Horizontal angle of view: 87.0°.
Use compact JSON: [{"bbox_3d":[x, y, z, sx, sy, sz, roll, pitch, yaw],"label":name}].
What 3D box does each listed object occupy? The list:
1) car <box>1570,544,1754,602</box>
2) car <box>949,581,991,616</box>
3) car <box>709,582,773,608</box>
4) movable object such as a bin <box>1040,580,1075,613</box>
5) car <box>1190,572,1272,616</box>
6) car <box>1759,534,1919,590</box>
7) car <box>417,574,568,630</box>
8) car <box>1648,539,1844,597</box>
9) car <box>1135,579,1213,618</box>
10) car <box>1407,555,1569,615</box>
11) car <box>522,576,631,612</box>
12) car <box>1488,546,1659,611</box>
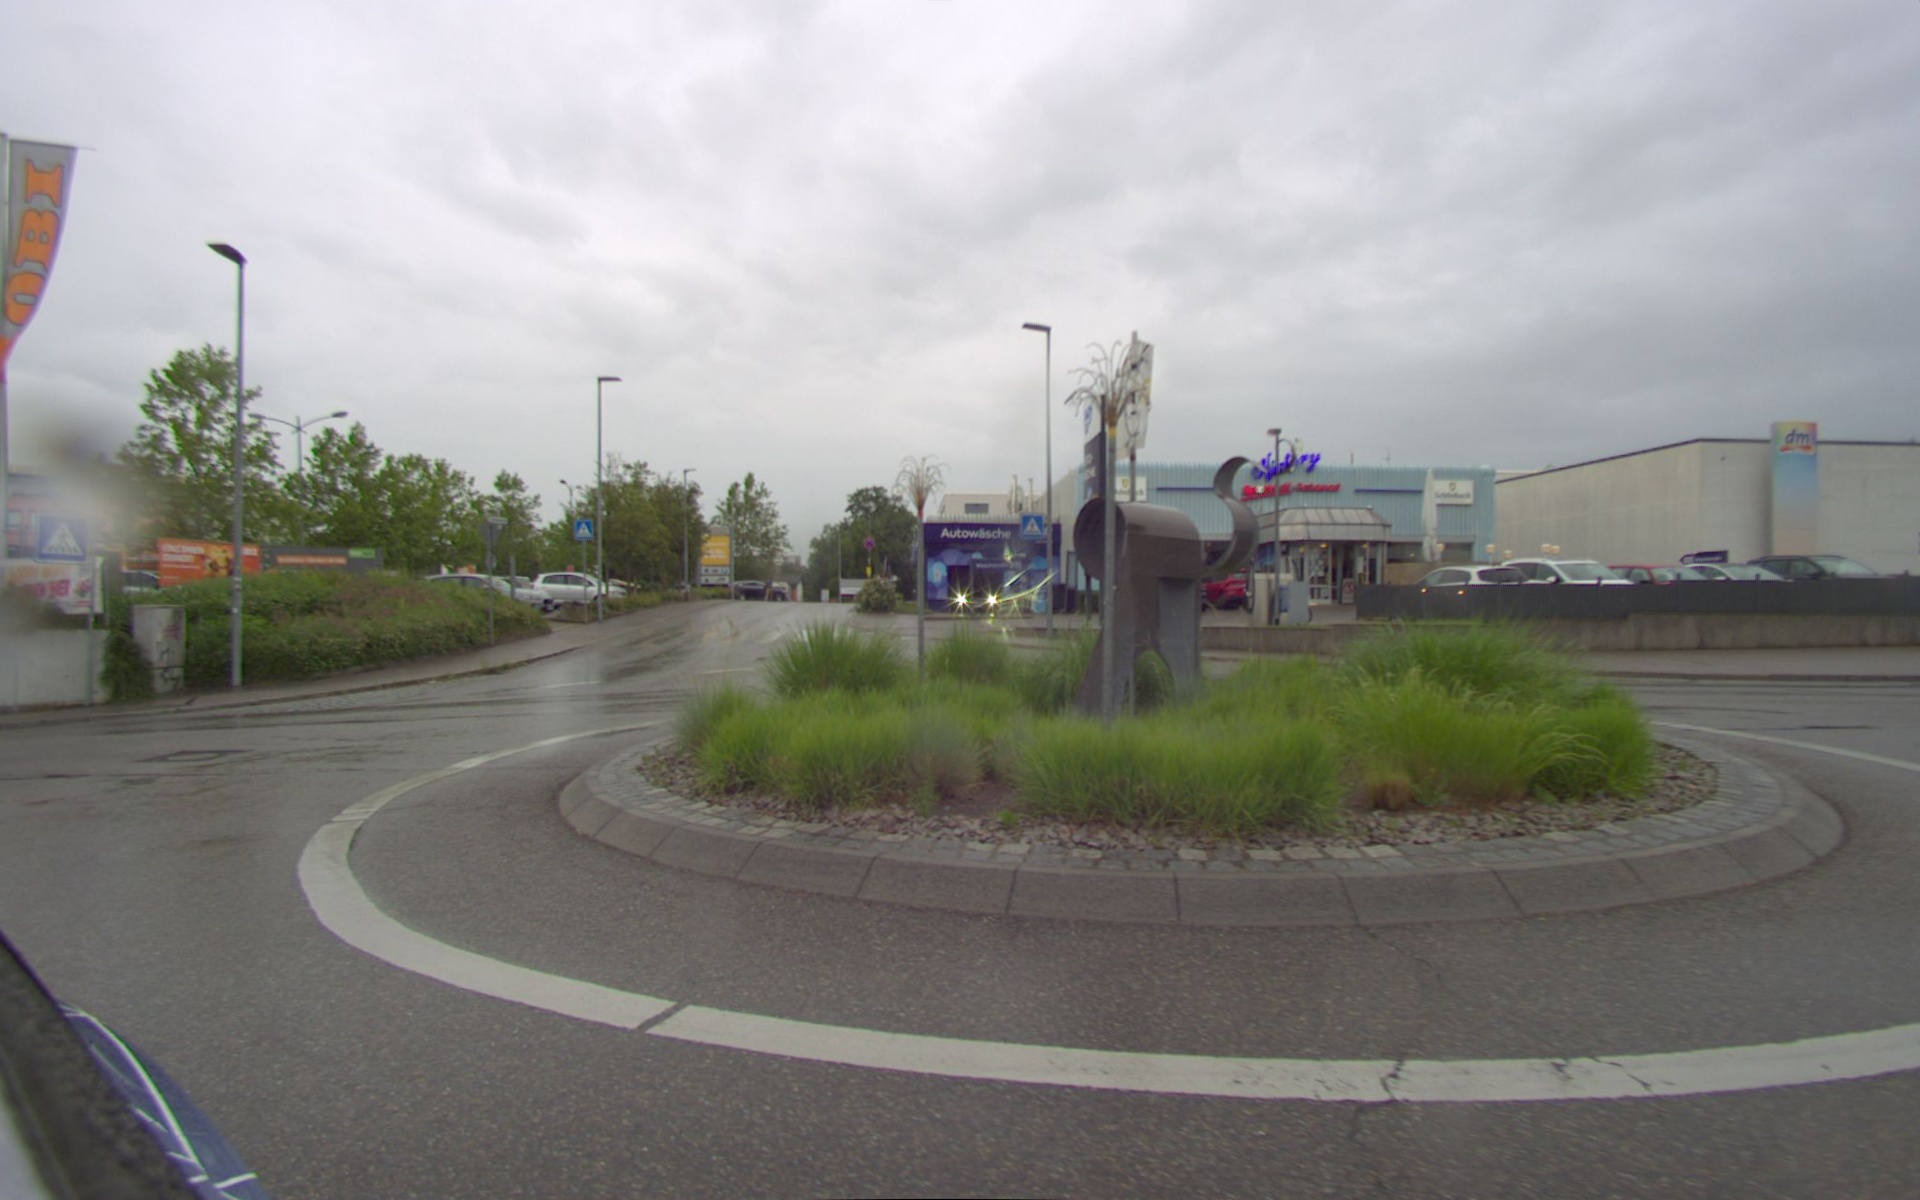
[{"bbox_3d":[18.333,-0.668,26.703,1.860,1.305,4.002,-4,0,-3],"label":"car"},{"bbox_3d":[0.461,-0.062,49.047,1.894,1.541,4.000,-3,0,0],"label":"car"},{"bbox_3d":[-14.864,-0.333,68.769,3.942,1.608,2.001,-1,-1,-2],"label":"car"},{"bbox_3d":[4.183,-0.142,43.463,1.197,1.305,1.479,-4,0,-2],"label":"movable object such as a bin"},{"bbox_3d":[10.439,-0.218,39.307,1.860,1.497,4.002,-4,0,-3],"label":"car"},{"bbox_3d":[23.752,-0.985,26.770,1.860,1.305,4.002,-4,0,-3],"label":"car"},{"bbox_3d":[-15.305,0.075,33.303,4.050,1.719,1.999,-1,-1,2],"label":"car"},{"bbox_3d":[20.584,-0.794,26.756,1.860,1.305,4.002,-4,0,-3],"label":"car"},{"bbox_3d":[8.099,-0.046,38.664,1.860,1.305,4.002,-4,0,-3],"label":"car"},{"bbox_3d":[13.469,-0.363,26.100,1.860,1.305,4.002,-4,0,-3],"label":"car"},{"bbox_3d":[-16.411,-0.246,43.426,3.942,1.453,2.001,-1,-1,-2],"label":"car"},{"bbox_3d":[16.101,-0.506,26.829,1.767,1.564,4.005,-1,0,-6],"label":"car"}]
